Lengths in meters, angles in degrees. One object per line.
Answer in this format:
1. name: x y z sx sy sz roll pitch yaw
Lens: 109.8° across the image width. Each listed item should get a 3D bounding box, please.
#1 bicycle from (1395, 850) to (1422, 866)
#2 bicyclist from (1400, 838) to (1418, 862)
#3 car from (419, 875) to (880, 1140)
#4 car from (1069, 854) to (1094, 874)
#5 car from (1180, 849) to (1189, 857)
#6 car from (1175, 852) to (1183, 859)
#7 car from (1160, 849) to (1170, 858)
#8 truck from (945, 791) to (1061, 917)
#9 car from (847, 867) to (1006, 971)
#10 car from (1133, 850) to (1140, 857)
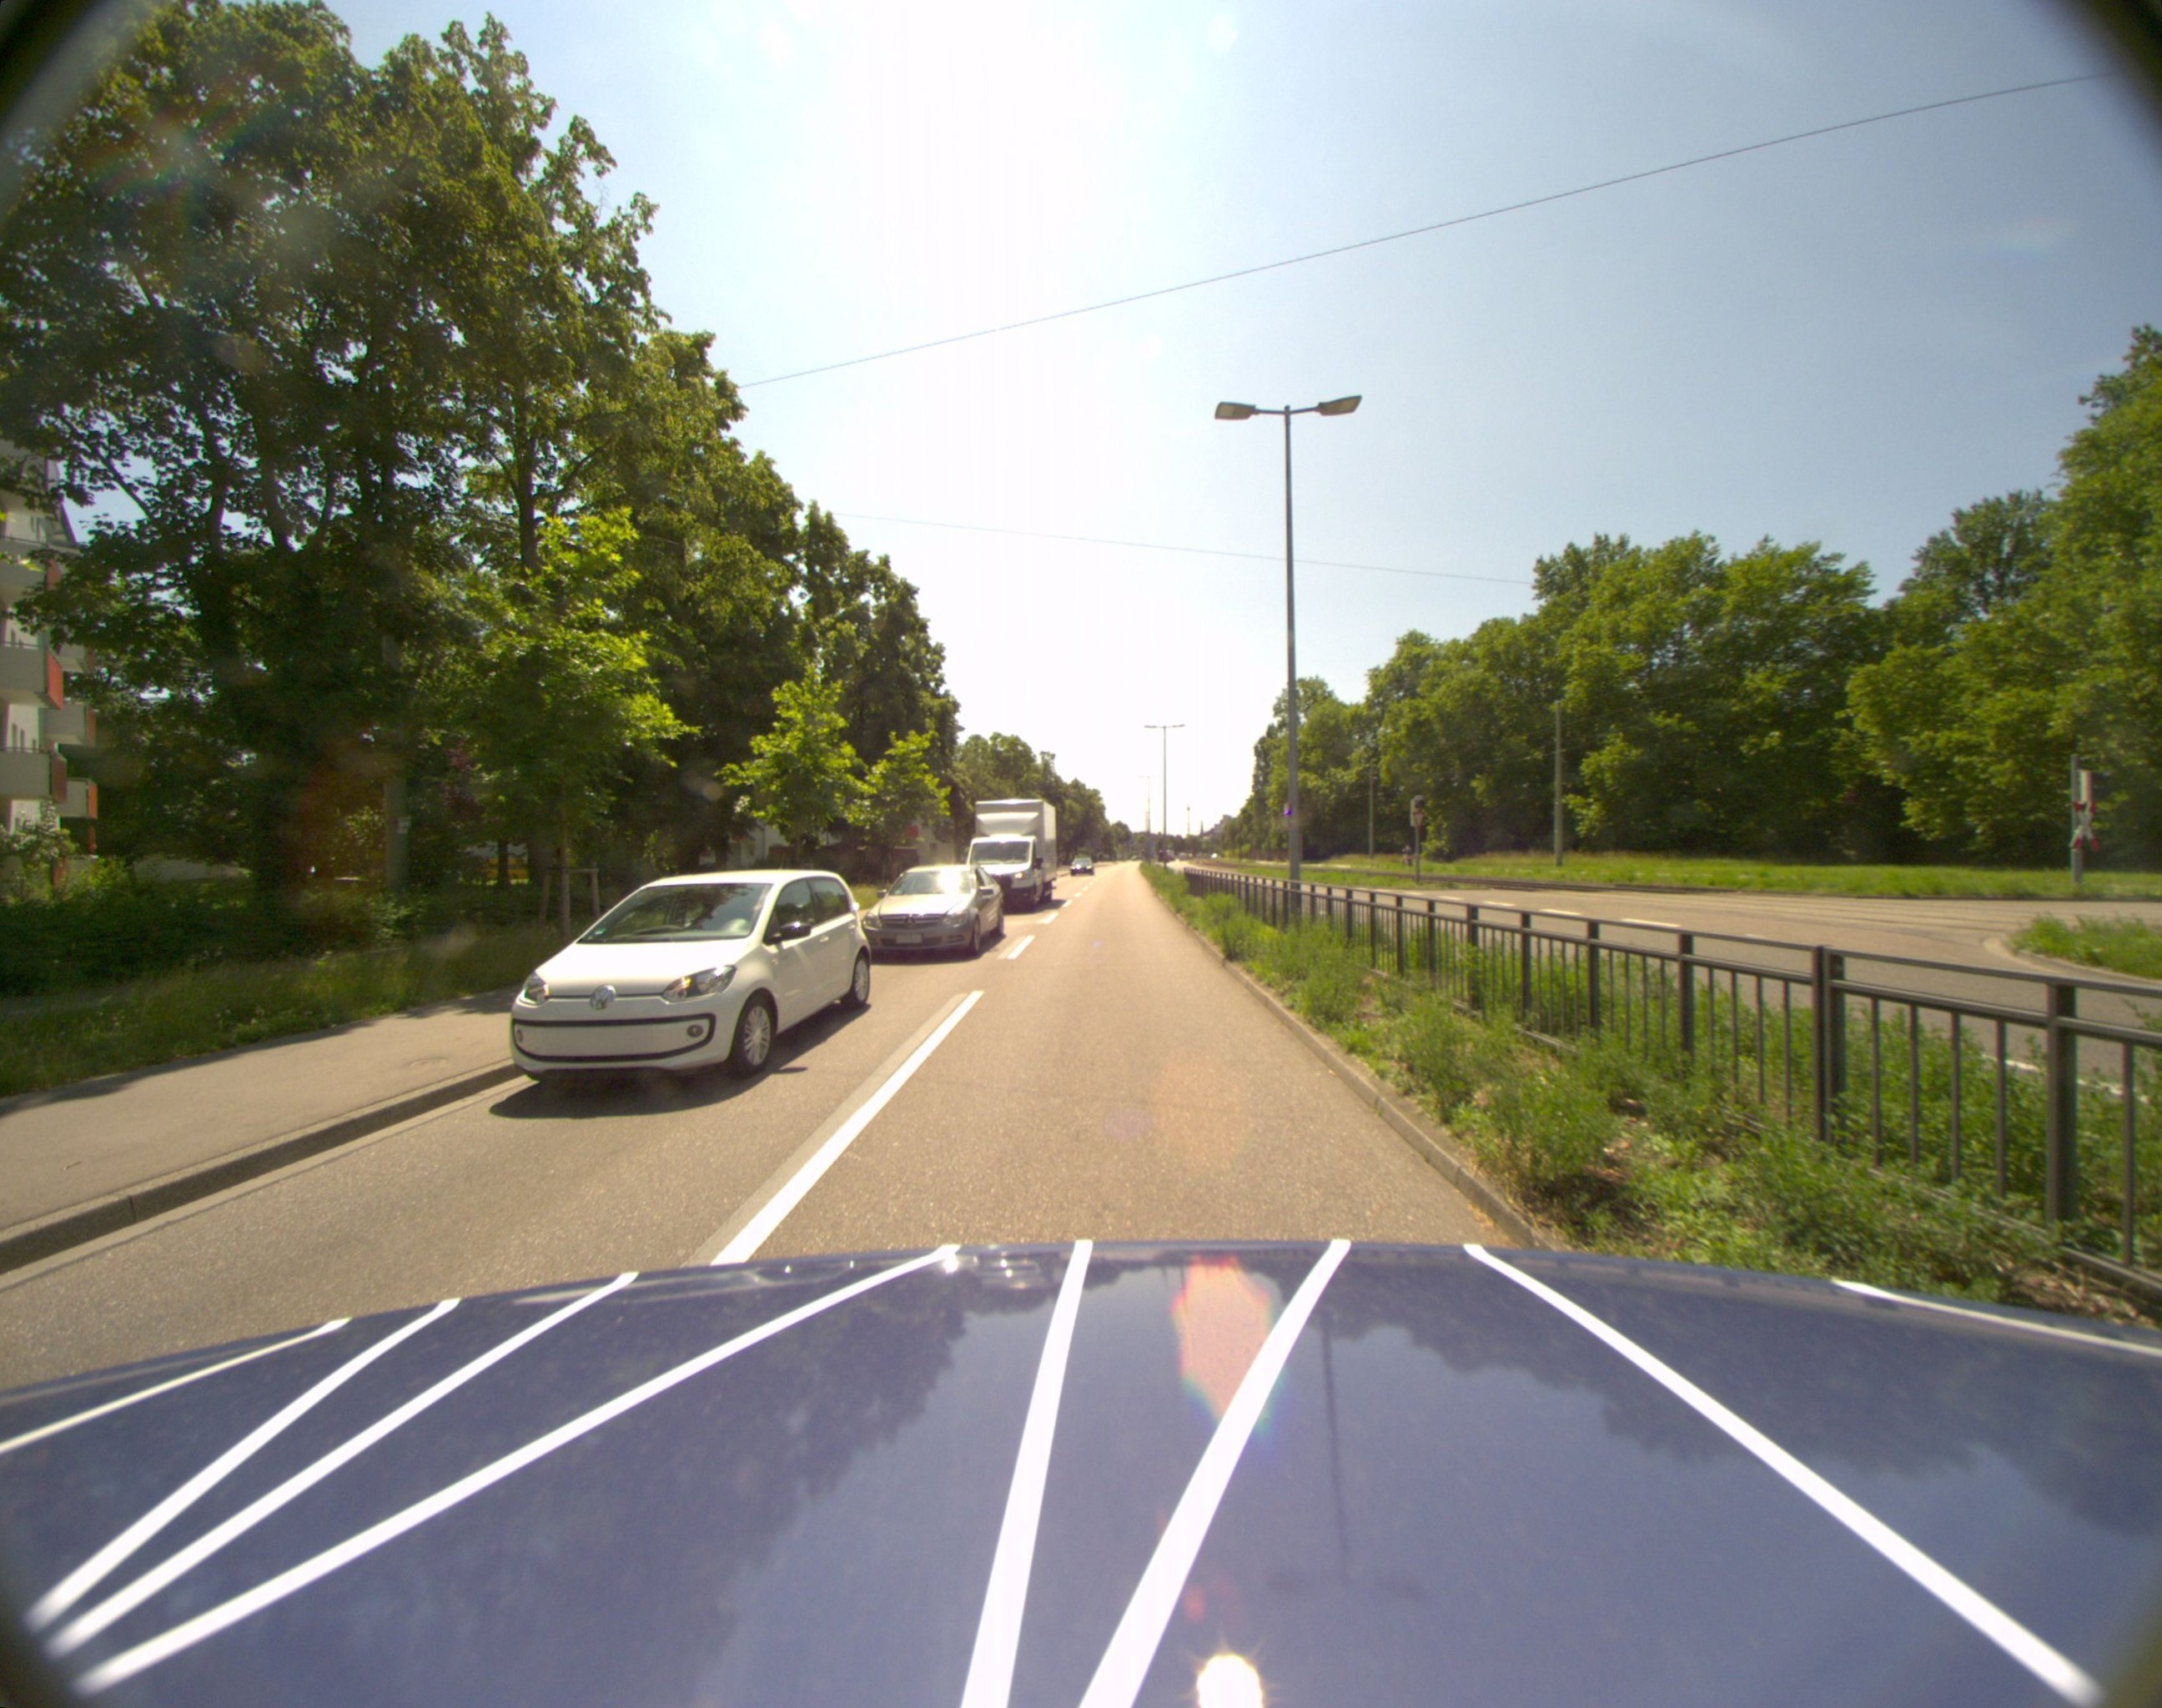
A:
1. bicycle: 24.363 0.285 56.548 0.862 1.155 2.787 -1 0 1
2. bicyclist: 24.378 -0.287 56.485 0.862 1.796 1.118 -1 1 1
3. car: -3.118 0.990 6.503 1.730 1.470 3.771 -1 0 1
4. car: 0.081 0.791 62.716 1.998 1.499 4.000 -1 0 1
5. car: 26.940 -0.248 197.602 1.998 1.846 4.001 -1 0 5
6. car: 26.807 0.360 207.192 1.998 1.847 4.001 -1 0 5
7. car: 16.512 -0.129 149.540 1.997 1.846 4.002 -1 0 7
8. truck: -2.189 -0.013 24.217 2.433 3.326 7.923 -1 0 3
9. car: -2.457 0.986 13.143 1.840 1.400 4.087 -1 0 1
10. car: 16.390 -0.162 225.675 1.998 1.846 4.001 -1 0 5
